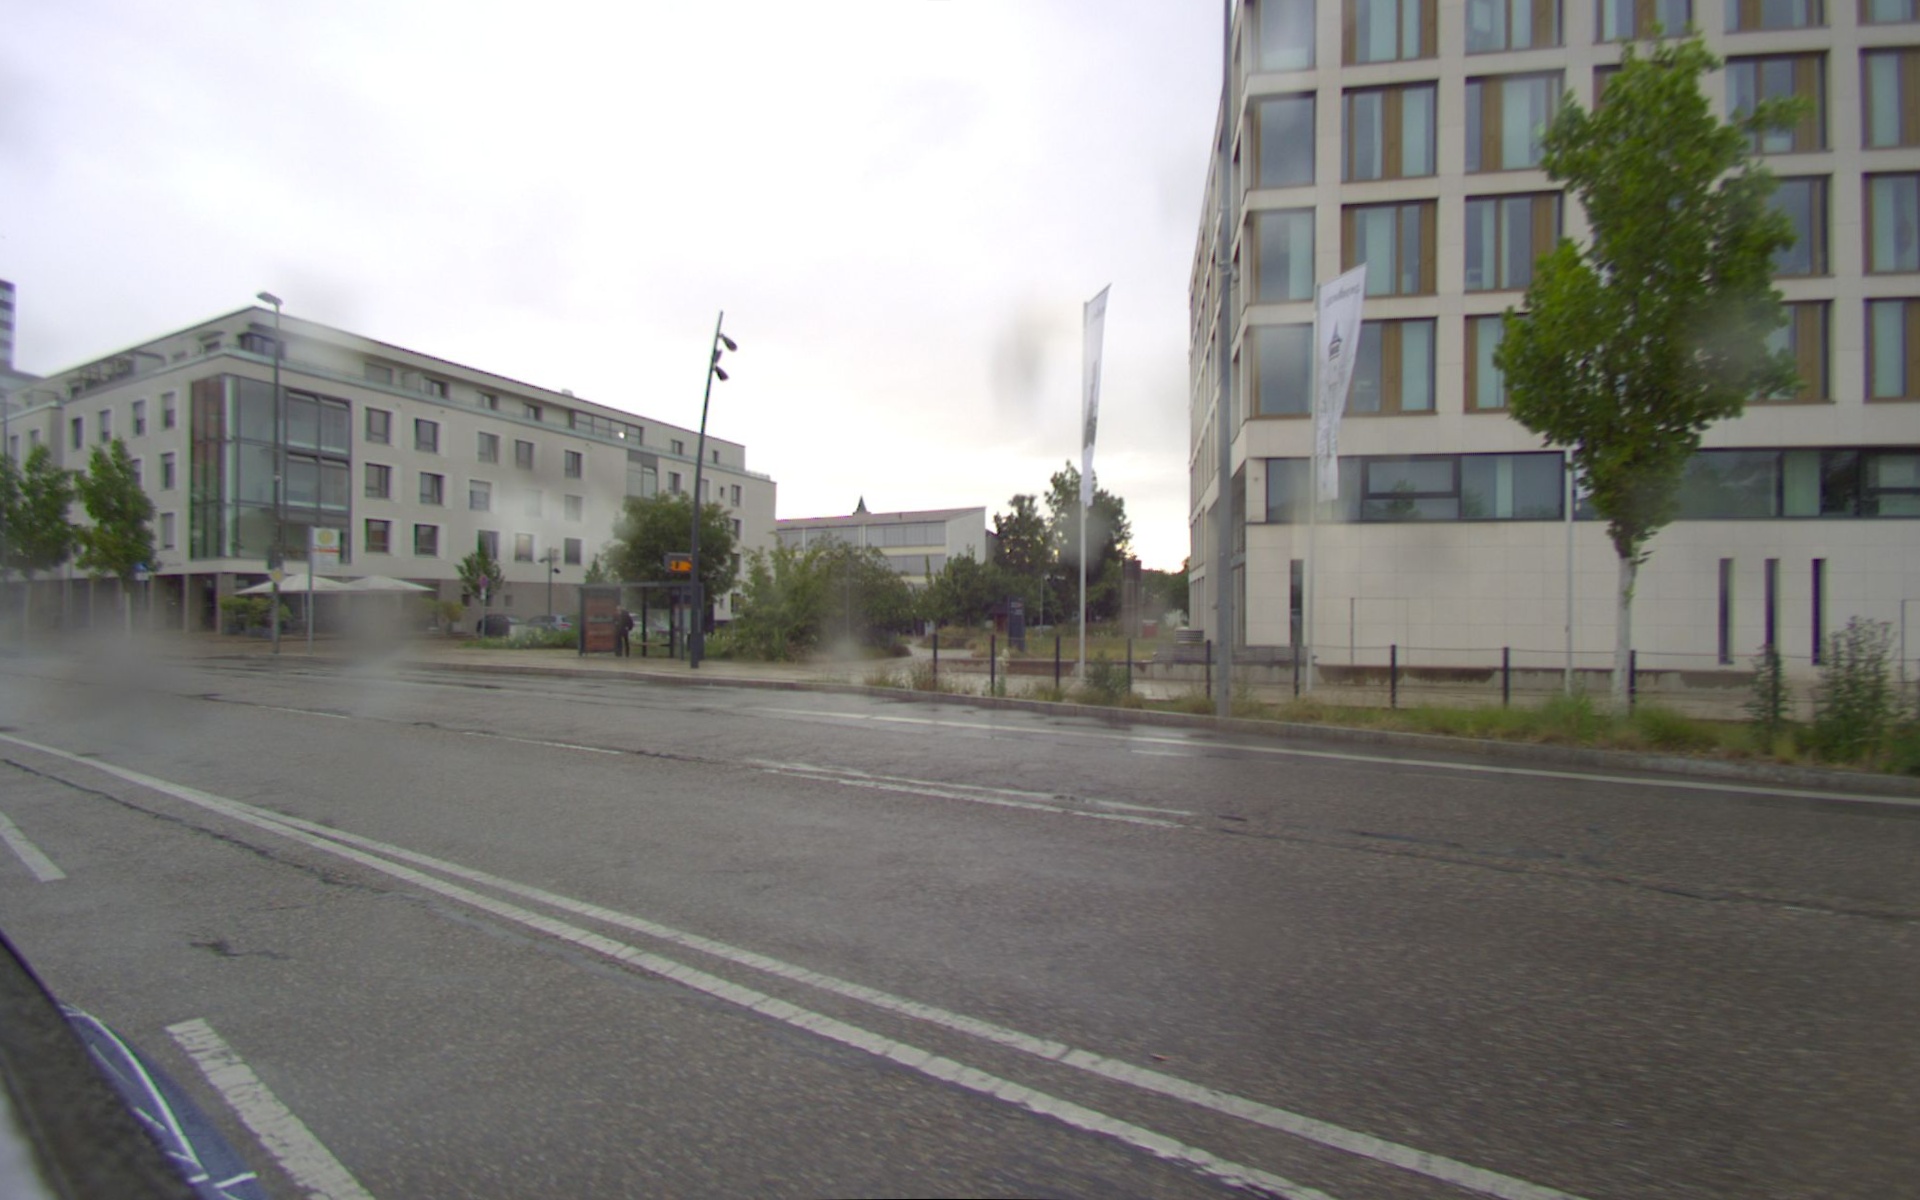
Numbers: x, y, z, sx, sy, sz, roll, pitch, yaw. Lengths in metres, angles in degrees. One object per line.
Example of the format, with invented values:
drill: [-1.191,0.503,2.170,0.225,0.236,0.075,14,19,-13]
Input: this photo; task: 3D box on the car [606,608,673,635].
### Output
car: [-22.009,1.447,69.580,3.963,1.702,1.990,2,0,15]

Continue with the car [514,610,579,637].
car: [-25.006,1.409,61.244,3.403,1.470,1.494,2,0,15]

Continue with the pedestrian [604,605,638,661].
pedestrian: [-10.996,1.060,32.881,0.668,1.758,0.780,2,0,18]

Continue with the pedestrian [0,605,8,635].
pedestrian: [-56.017,1.164,58.792,1.000,1.751,0.802,2,0,32]
